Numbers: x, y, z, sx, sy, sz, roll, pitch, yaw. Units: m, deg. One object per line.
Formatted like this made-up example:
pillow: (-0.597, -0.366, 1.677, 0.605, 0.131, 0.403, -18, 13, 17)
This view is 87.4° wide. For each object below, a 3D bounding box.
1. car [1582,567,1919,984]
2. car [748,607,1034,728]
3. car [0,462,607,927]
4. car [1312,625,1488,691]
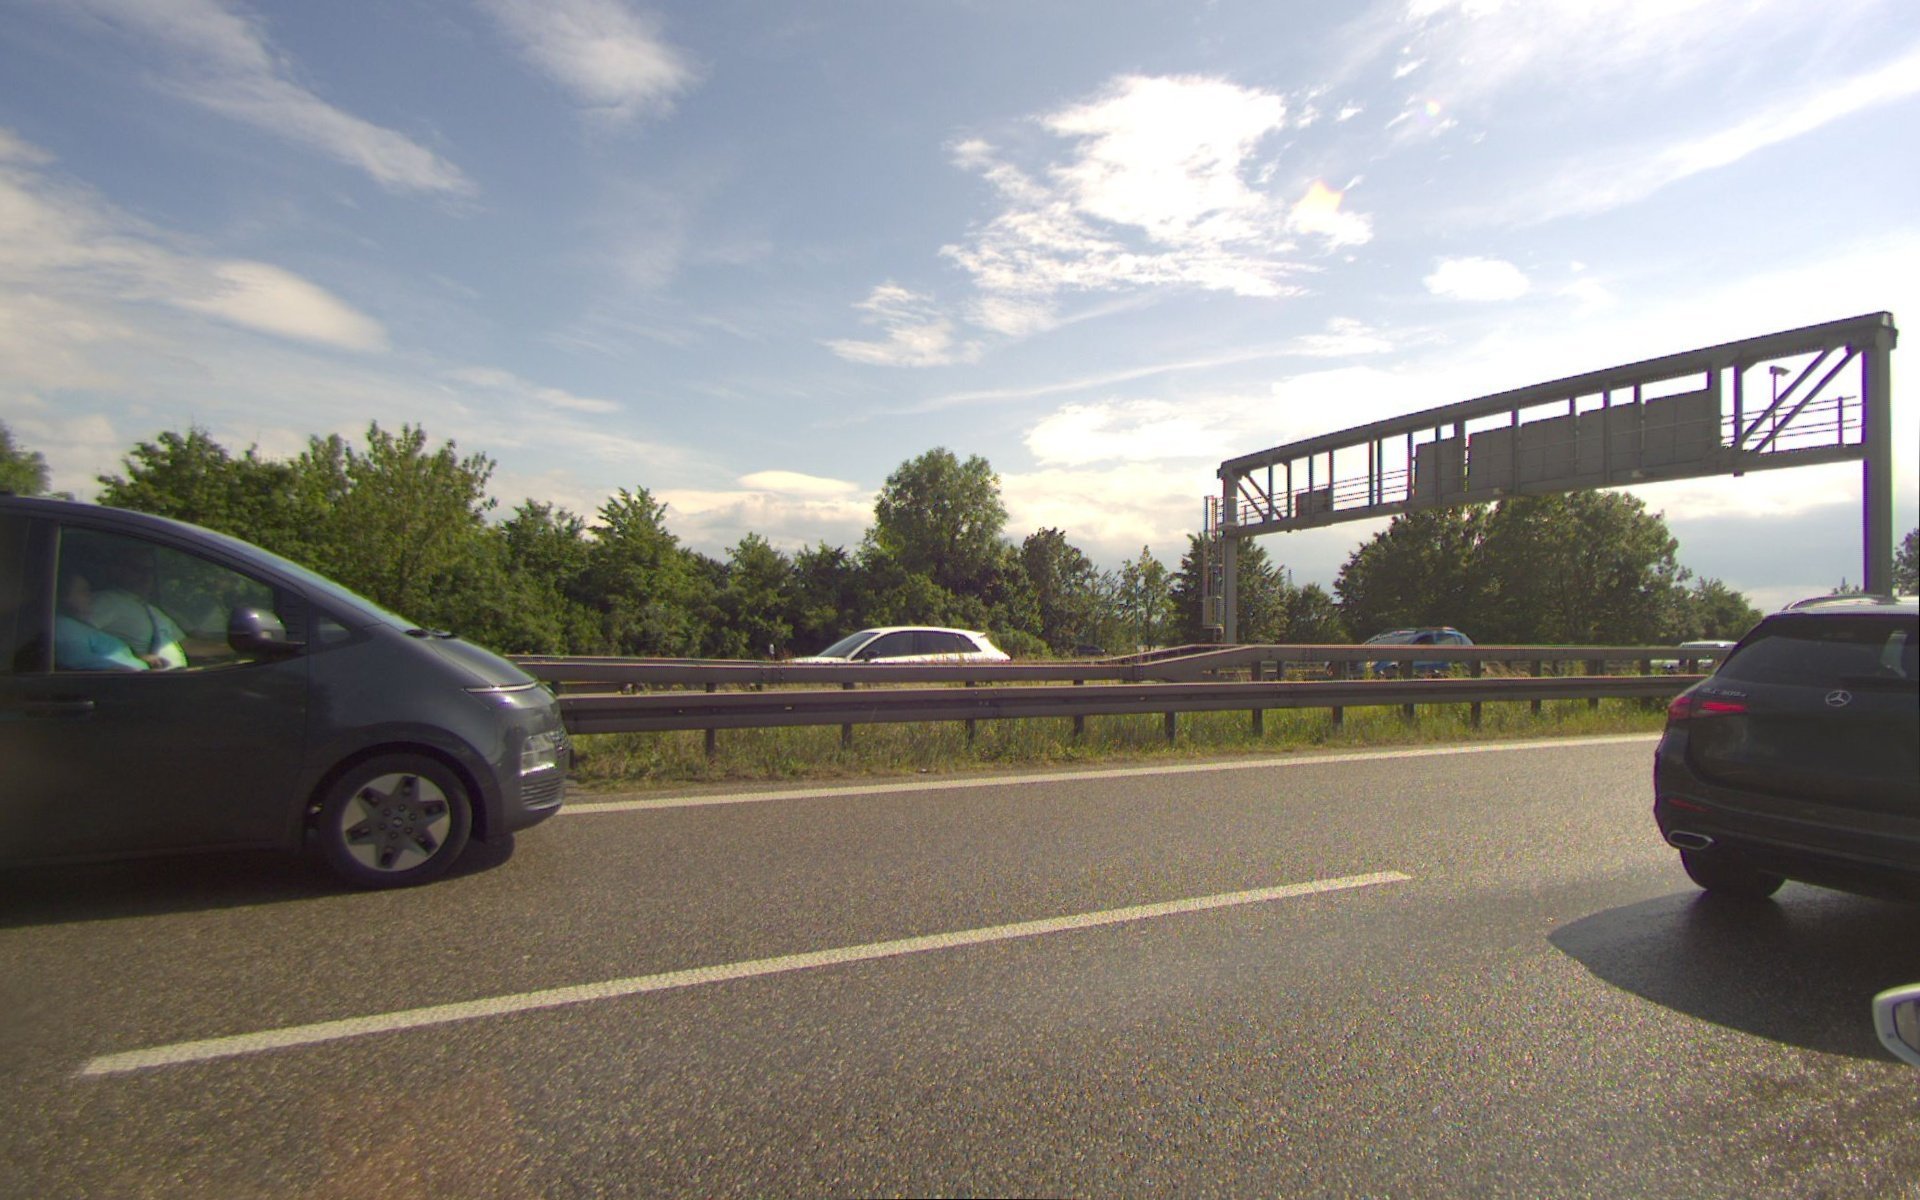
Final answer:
car: (5.672, 0.767, 5.372, 4.348, 1.683, 1.987, 2, -1, -26)
car: (-1.046, 0.966, 15.513, 3.952, 1.645, 1.985, 1, -1, -30)
car: (-4.720, 0.419, 5.254, 5.201, 2.040, 1.986, 1, -1, -27)
car: (10.261, 1.317, 23.393, 3.827, 1.398, 1.750, 1, -1, -28)
